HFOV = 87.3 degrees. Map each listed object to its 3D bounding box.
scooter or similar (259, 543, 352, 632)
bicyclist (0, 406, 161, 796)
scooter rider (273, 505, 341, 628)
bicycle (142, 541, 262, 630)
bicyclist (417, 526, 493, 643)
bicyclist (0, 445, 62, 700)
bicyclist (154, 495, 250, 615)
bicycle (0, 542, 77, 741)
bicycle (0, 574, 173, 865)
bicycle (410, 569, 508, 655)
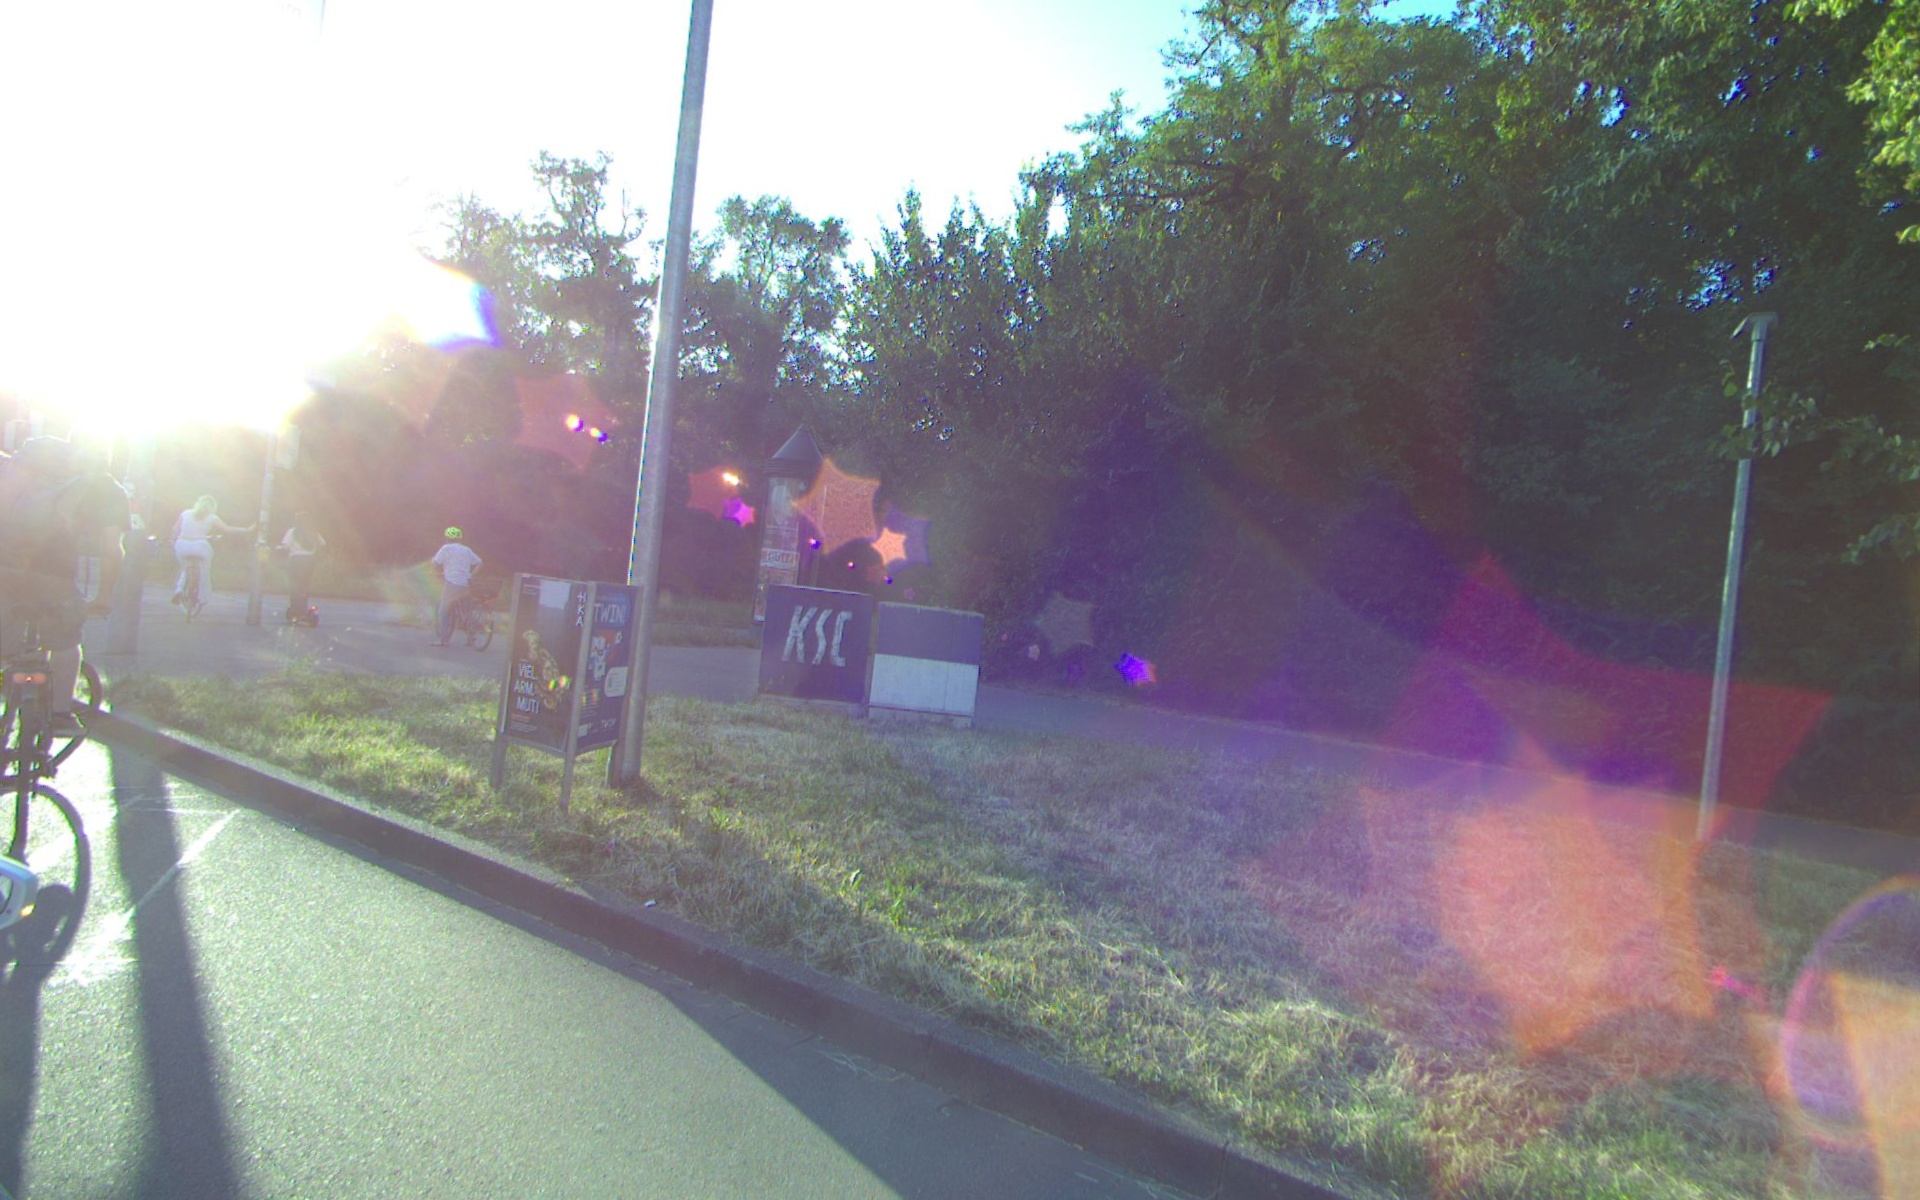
[{"bbox_3d":[-9.933,-0.198,15.258,1.399,1.204,0.562,6,0,33],"label":"scooter or similar"},{"bbox_3d":[-4.386,-0.003,4.713,0.786,1.687,0.698,7,-1,38],"label":"bicyclist"},{"bbox_3d":[-9.895,-0.502,15.252,0.497,1.788,0.566,6,0,33],"label":"scooter rider"},{"bbox_3d":[-10.671,-0.216,14.130,1.986,1.019,0.771,7,0,38],"label":"bicycle"},{"bbox_3d":[-7.311,-0.229,14.554,0.886,1.589,0.553,7,1,41],"label":"bicyclist"},{"bbox_3d":[-6.474,-0.216,6.528,0.895,1.605,0.604,7,0,32],"label":"bicyclist"},{"bbox_3d":[-10.653,-0.631,14.144,0.844,1.536,0.759,7,0,37],"label":"bicyclist"},{"bbox_3d":[-6.554,0.186,6.543,1.853,1.151,0.614,7,0,32],"label":"bicycle"},{"bbox_3d":[-4.426,0.469,4.697,1.798,1.075,0.698,6,-1,39],"label":"bicycle"},{"bbox_3d":[-7.207,0.158,14.439,1.777,1.027,0.562,7,0,42],"label":"bicycle"}]
